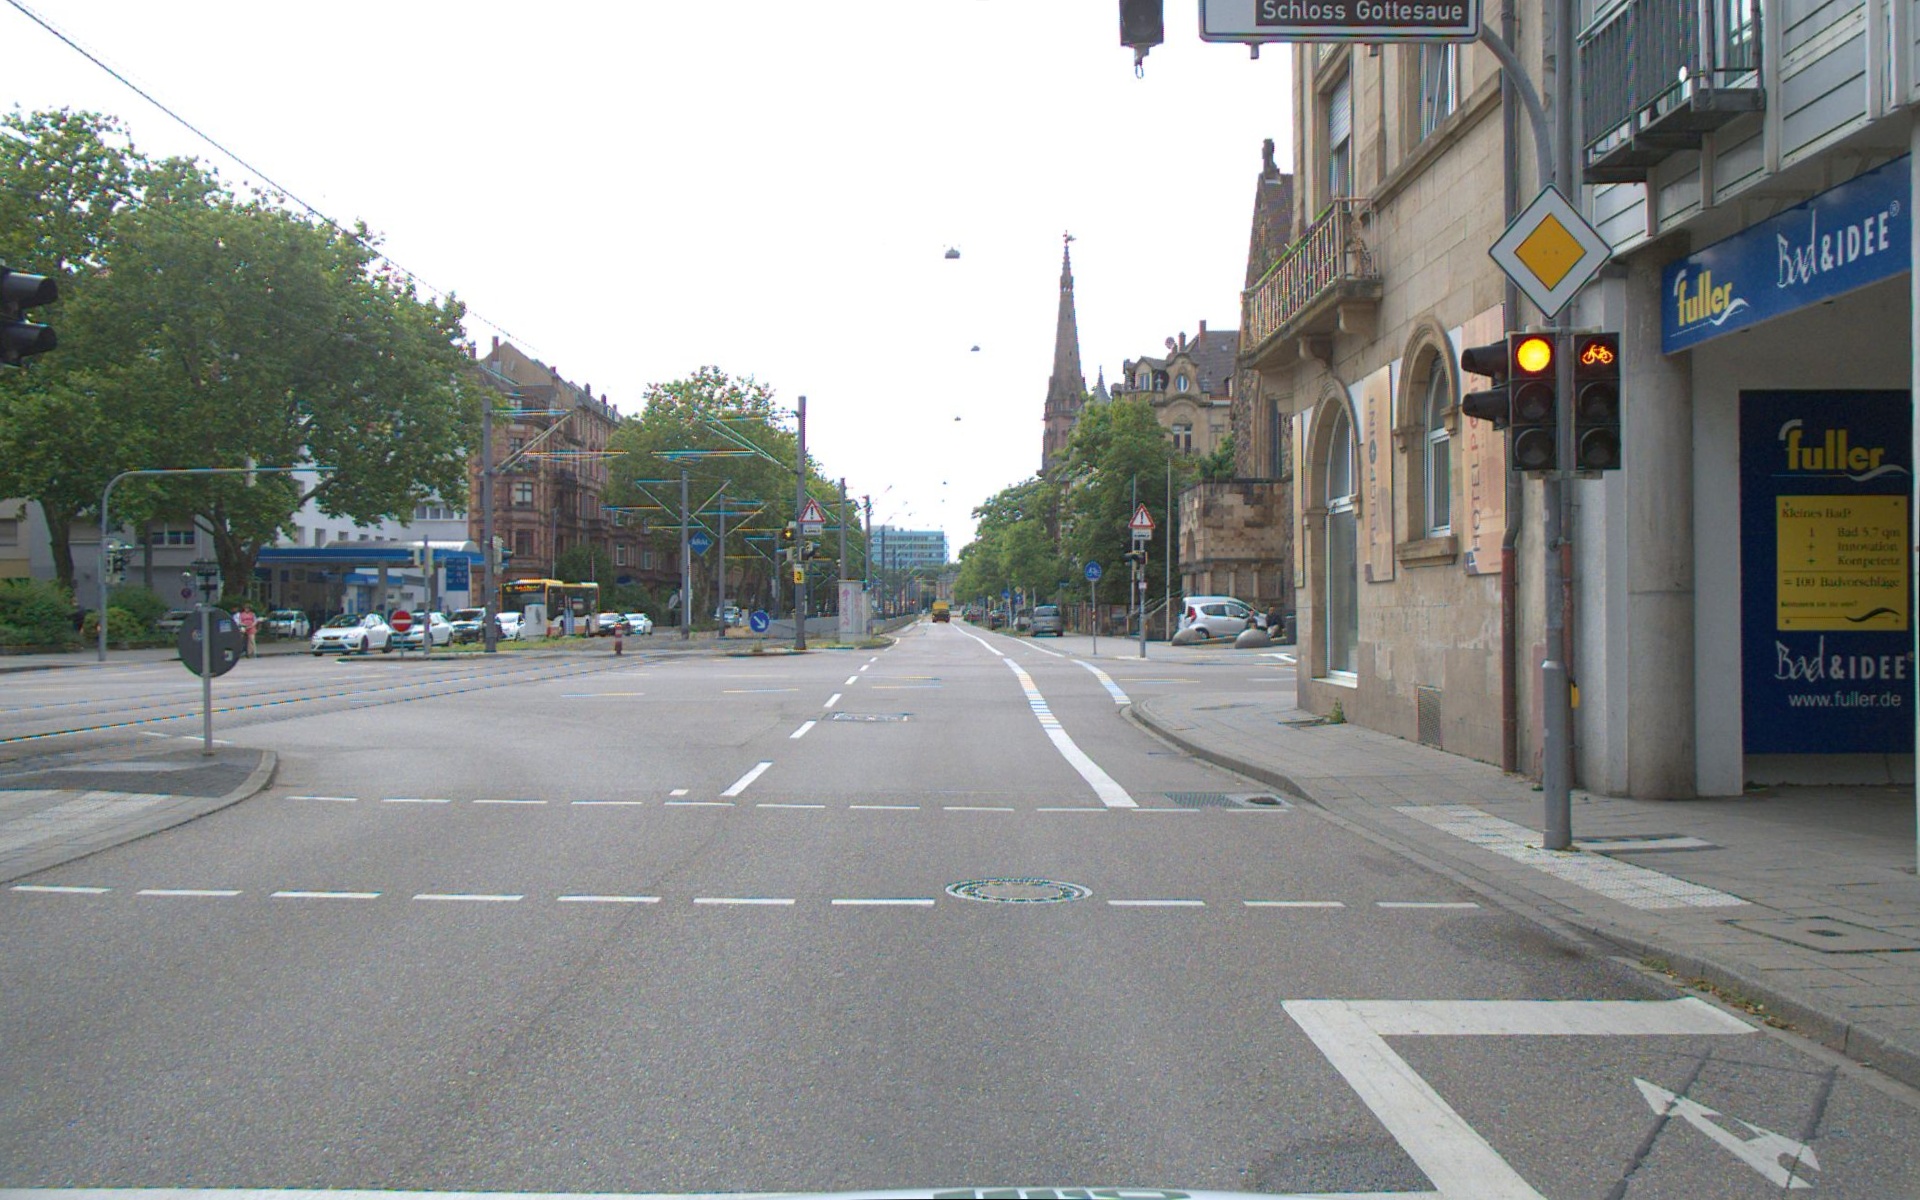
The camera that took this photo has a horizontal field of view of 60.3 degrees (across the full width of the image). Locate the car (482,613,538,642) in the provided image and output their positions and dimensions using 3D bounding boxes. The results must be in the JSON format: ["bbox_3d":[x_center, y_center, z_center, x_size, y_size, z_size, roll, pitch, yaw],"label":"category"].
[{"bbox_3d":[-21.381,1.288,78.707,1.622,1.344,3.638,1,0,1],"label":"car"}]

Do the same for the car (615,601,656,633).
[{"bbox_3d":[-21.414,1.135,109.266,1.953,2.049,3.999,1,0,-1],"label":"car"}]

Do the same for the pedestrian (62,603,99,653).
[{"bbox_3d":[-30.990,0.971,58.292,0.856,1.743,0.873,-1,-1,34],"label":"pedestrian"}]

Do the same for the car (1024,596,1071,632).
[{"bbox_3d":[4.813,0.765,90.056,1.951,1.888,4.030,1,0,12],"label":"car"}]

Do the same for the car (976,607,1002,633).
[{"bbox_3d":[2.372,1.619,136.010,1.953,2.049,3.999,1,0,-1],"label":"car"}]

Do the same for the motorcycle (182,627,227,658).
[{"bbox_3d":[-24.652,1.376,54.012,0.594,0.945,1.951,0,0,0],"label":"motorcycle"}]

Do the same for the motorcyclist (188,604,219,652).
[{"bbox_3d":[-24.695,0.906,53.998,0.607,1.546,0.873,0,0,-1],"label":"motorcyclist"}]

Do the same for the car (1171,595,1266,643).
[{"bbox_3d":[10.690,0.789,68.566,3.638,1.888,2.000,1,0,-1],"label":"car"}]

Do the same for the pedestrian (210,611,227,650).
[{"bbox_3d":[-28.427,1.174,63.428,0.466,1.485,0.426,0,0,-1],"label":"pedestrian"}]

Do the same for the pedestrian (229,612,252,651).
[{"bbox_3d":[-27.727,1.199,63.748,0.634,1.505,0.557,0,0,-1],"label":"pedestrian"}]

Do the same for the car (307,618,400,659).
[{"bbox_3d":[-21.437,1.336,58.580,1.711,1.344,4.075,1,0,1],"label":"car"}]

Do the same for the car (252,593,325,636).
[{"bbox_3d":[-32.778,0.699,80.827,1.953,2.049,3.999,0,0,-1],"label":"car"}]

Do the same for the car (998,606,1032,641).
[{"bbox_3d":[3.283,1.414,99.512,1.952,2.049,4.000,1,0,1],"label":"car"}]

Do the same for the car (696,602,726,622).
[{"bbox_3d":[-21.228,1.023,141.189,1.953,1.639,3.999,1,0,-1],"label":"car"}]

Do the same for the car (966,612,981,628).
[{"bbox_3d":[1.758,2.648,216.832,1.953,2.049,3.999,1,0,-1],"label":"car"}]

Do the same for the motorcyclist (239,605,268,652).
[{"bbox_3d":[-23.486,0.942,54.996,0.607,1.546,0.873,0,0,-1],"label":"motorcyclist"}]

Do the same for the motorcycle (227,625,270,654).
[{"bbox_3d":[-23.495,1.295,54.629,0.594,0.945,1.951,0,0,0],"label":"motorcycle"}]

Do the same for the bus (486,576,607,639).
[{"bbox_3d":[-21.969,0.421,88.761,3.164,3.088,12.312,1,0,1],"label":"bus"}]

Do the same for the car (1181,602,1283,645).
[{"bbox_3d":[10.674,0.920,65.071,3.638,1.591,2.000,1,0,-1],"label":"car"}]

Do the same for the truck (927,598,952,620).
[{"bbox_3d":[-2.732,1.192,222.200,2.992,2.817,9.817,0,0,1],"label":"truck"}]

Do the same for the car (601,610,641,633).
[{"bbox_3d":[-20.840,1.308,101.848,1.622,1.344,3.638,1,0,1],"label":"car"}]

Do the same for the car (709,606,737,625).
[{"bbox_3d":[-21.344,1.380,148.998,1.953,1.639,3.999,1,0,-1],"label":"car"}]

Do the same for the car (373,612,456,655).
[{"bbox_3d":[-21.424,1.292,65.135,1.953,1.622,3.999,1,0,-1],"label":"car"}]

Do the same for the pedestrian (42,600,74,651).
[{"bbox_3d":[-31.375,0.873,57.553,0.852,1.743,0.688,-1,-1,35],"label":"pedestrian"}]

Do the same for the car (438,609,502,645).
[{"bbox_3d":[-21.224,1.143,71.788,1.622,1.504,3.638,1,0,1],"label":"car"}]
